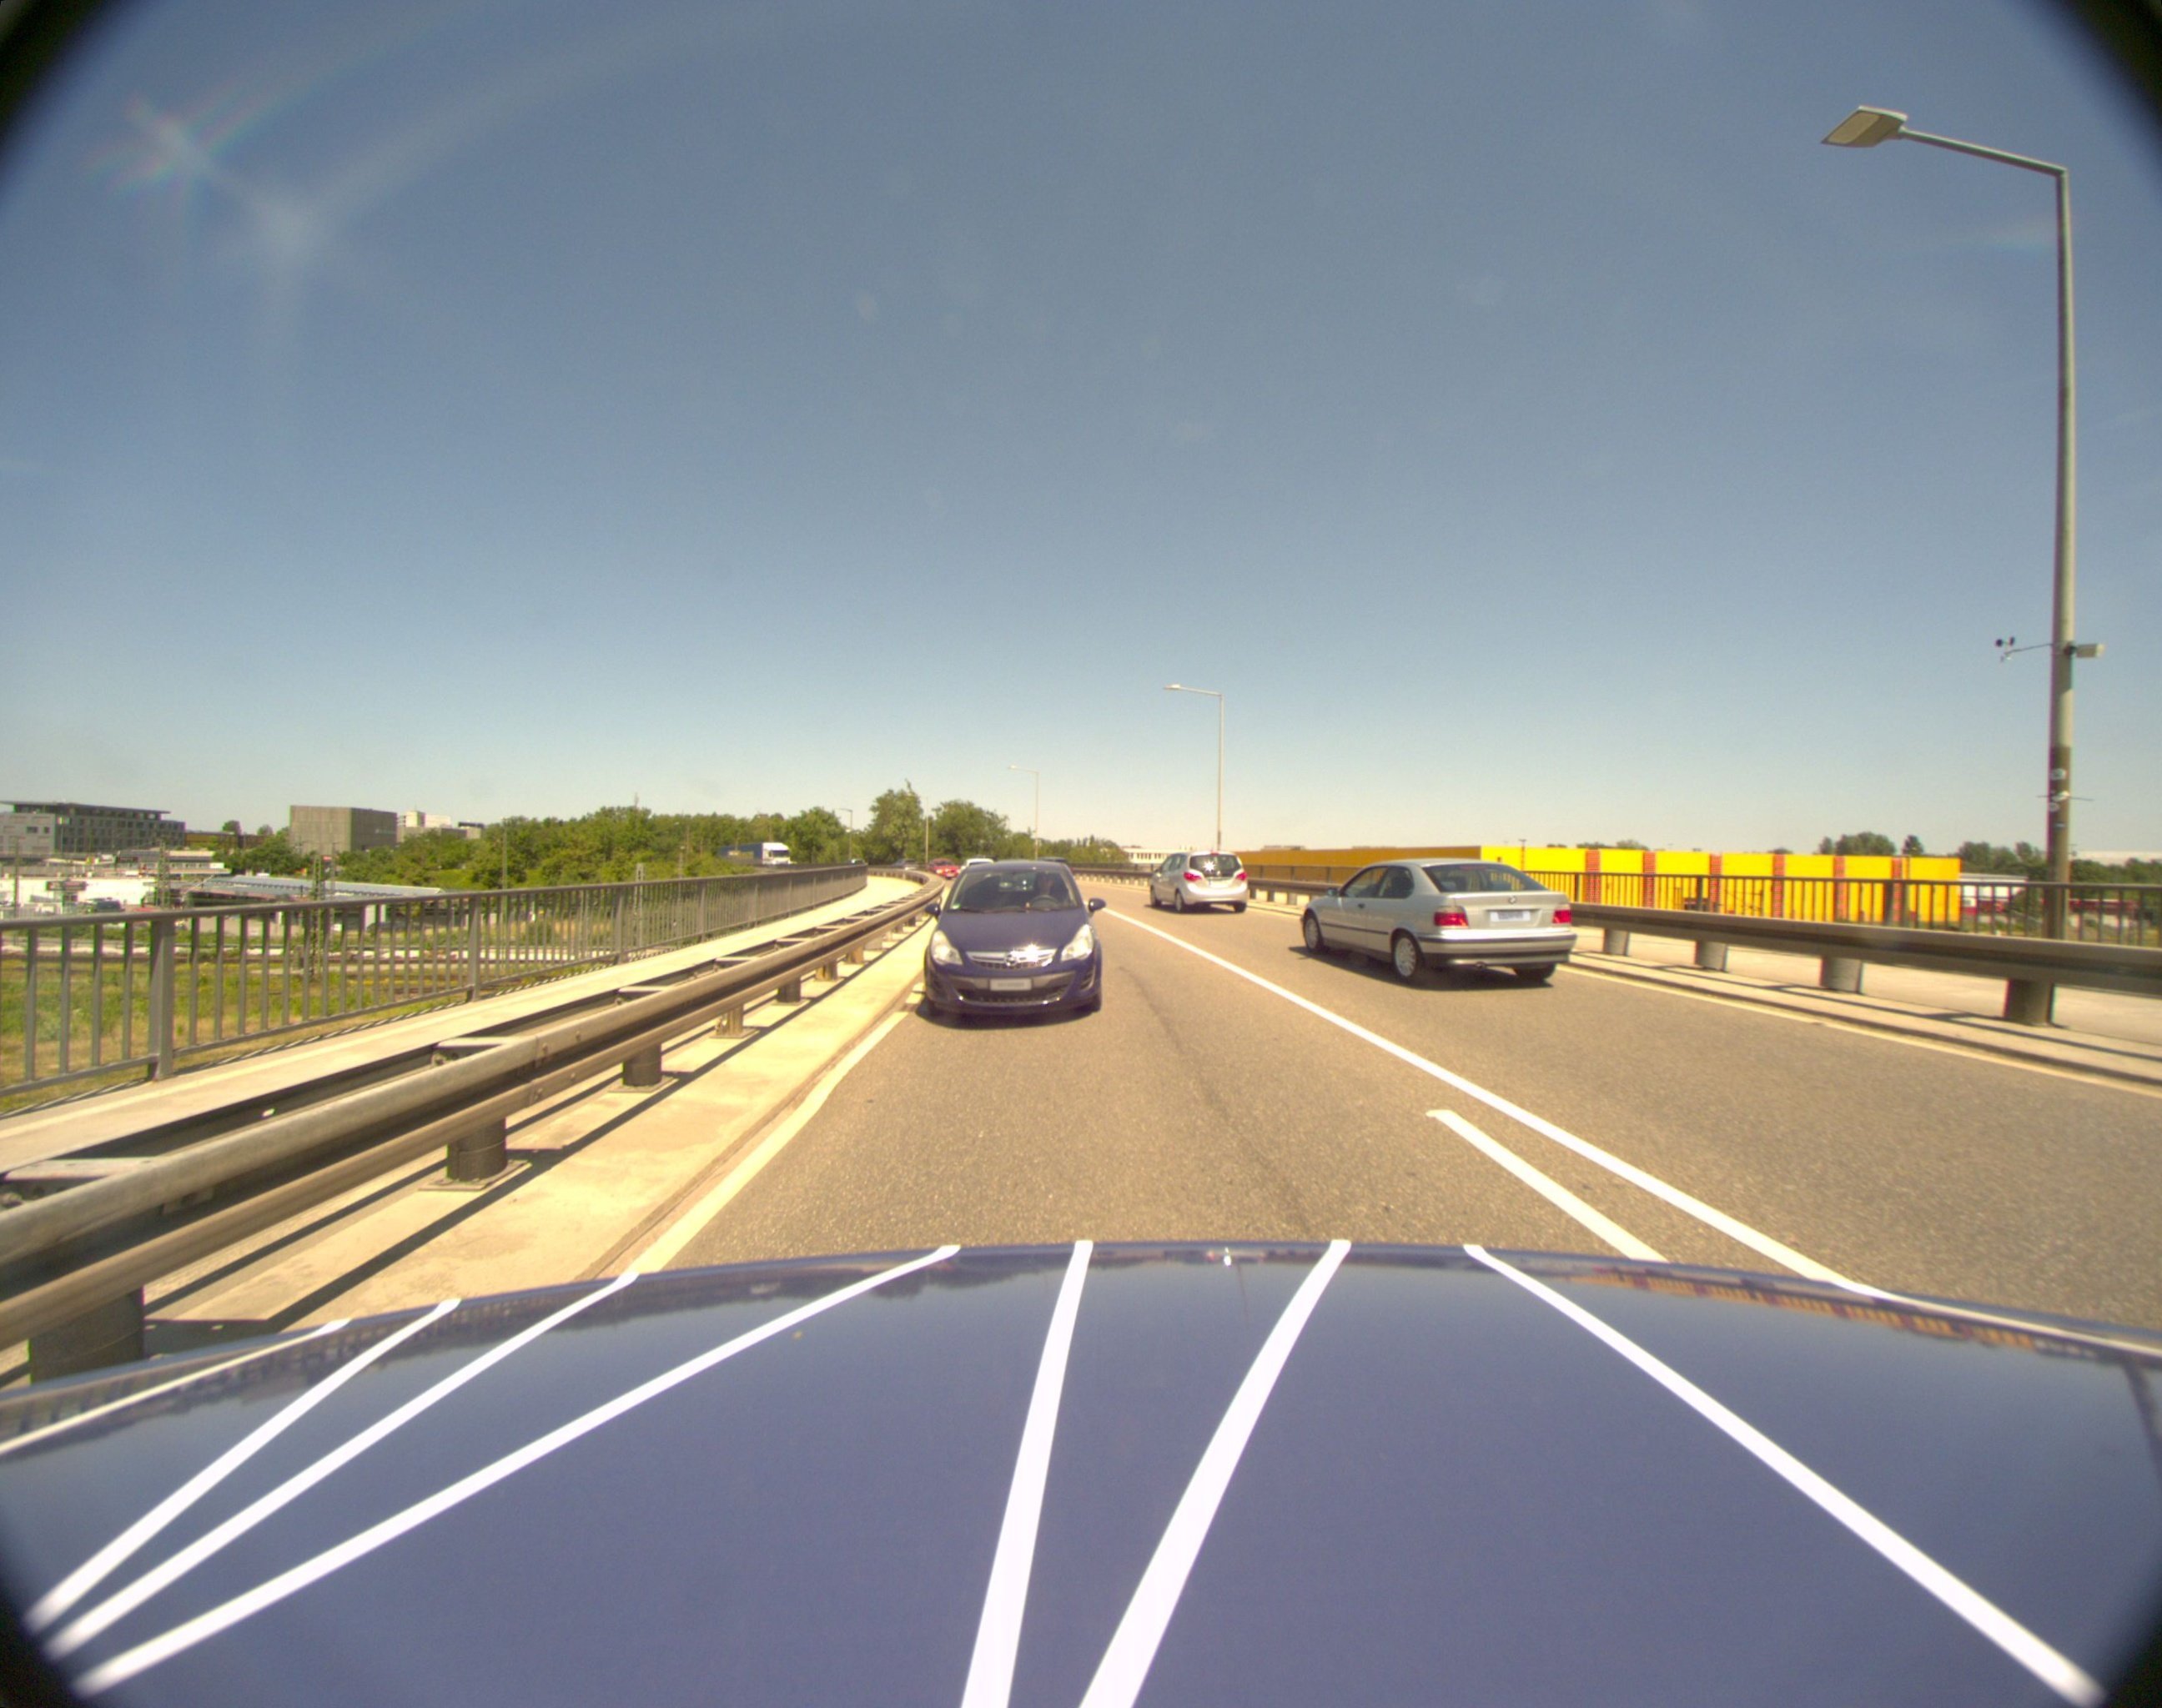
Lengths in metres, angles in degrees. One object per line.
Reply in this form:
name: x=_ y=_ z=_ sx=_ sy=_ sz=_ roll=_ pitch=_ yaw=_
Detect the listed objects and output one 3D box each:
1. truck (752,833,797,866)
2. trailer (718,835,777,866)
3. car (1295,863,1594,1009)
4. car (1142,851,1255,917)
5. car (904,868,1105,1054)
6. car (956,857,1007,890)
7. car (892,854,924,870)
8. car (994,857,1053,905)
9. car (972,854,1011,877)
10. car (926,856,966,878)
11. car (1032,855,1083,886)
truck: x=-40.839 y=-0.542 z=101.164 sx=6.820 sy=4.204 sz=2.702 roll=-1 pitch=2 yaw=44
trailer: x=-47.124 y=-0.427 z=106.987 sx=12.676 sy=4.210 sz=2.707 roll=-1 pitch=2 yaw=43
car: x=4.202 y=0.835 z=9.581 sx=1.702 sy=1.368 sz=3.998 roll=-1 pitch=0 yaw=-3
car: x=3.027 y=0.722 z=20.505 sx=1.742 sy=1.570 sz=4.172 roll=-1 pitch=0 yaw=-10
car: x=-0.715 y=0.934 z=8.387 sx=1.645 sy=1.431 sz=3.999 roll=-2 pitch=0 yaw=-2
car: x=-4.927 y=0.881 z=37.195 sx=1.797 sy=1.446 sz=4.516 roll=-2 pitch=0 yaw=-16
car: x=-17.345 y=0.782 z=76.150 sx=1.784 sy=1.499 sz=4.183 roll=-1 pitch=0 yaw=-32
car: x=-2.096 y=0.875 z=26.513 sx=1.795 sy=1.446 sz=4.520 roll=-1 pitch=0 yaw=-7
car: x=-6.678 y=0.856 z=56.520 sx=1.780 sy=1.616 sz=4.245 roll=-1 pitch=0 yaw=-22
car: x=-9.244 y=0.843 z=51.768 sx=1.798 sy=1.446 sz=4.514 roll=0 pitch=0 yaw=-22
car: x=-1.261 y=0.777 z=38.614 sx=1.778 sy=1.430 sz=4.387 roll=-1 pitch=0 yaw=-12
